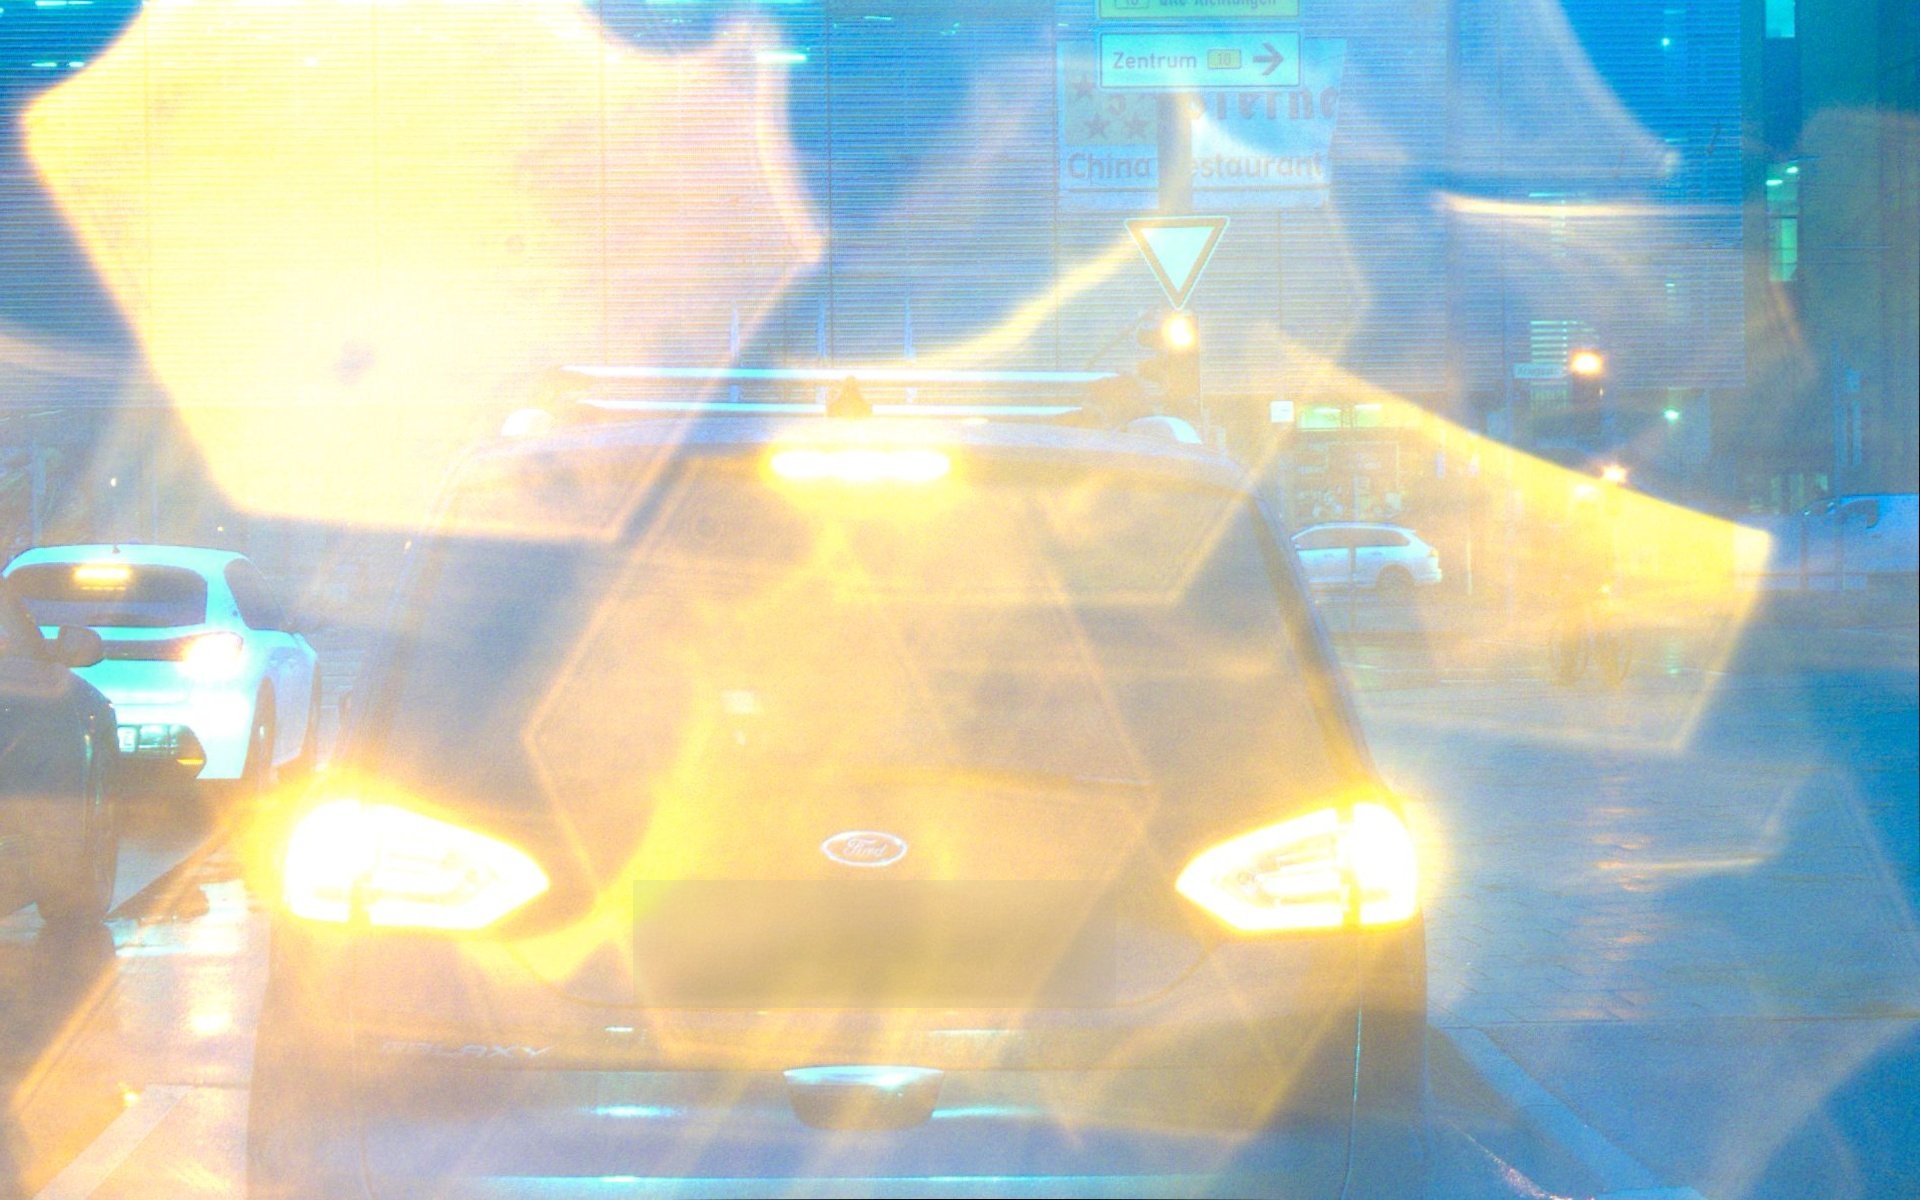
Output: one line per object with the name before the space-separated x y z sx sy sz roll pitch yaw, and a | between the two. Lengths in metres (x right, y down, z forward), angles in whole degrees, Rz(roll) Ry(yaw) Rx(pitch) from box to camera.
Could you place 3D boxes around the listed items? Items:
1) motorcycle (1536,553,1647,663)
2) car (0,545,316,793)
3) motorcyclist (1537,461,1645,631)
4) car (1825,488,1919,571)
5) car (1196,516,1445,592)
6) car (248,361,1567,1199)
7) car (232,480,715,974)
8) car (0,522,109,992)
motorcycle | 5.803 0.060 31.655 0.853 0.968 1.581 0 1 5
car | -4.530 0.319 19.514 1.540 1.247 4.069 0 1 -8
motorcyclist | 5.803 -0.500 31.660 0.868 1.529 1.108 0 1 5
car | 19.299 -1.388 66.875 4.418 1.589 1.800 -1 1 -7
car | 6.881 -0.898 65.818 4.418 1.385 1.800 -1 1 -7
car | -0.178 0.526 6.735 1.735 1.732 4.247 2 1 -3
car | -1.829 0.415 13.662 1.636 1.691 3.671 0 1 -5
car | -4.098 0.531 11.561 1.752 1.568 4.001 -1 1 -4
